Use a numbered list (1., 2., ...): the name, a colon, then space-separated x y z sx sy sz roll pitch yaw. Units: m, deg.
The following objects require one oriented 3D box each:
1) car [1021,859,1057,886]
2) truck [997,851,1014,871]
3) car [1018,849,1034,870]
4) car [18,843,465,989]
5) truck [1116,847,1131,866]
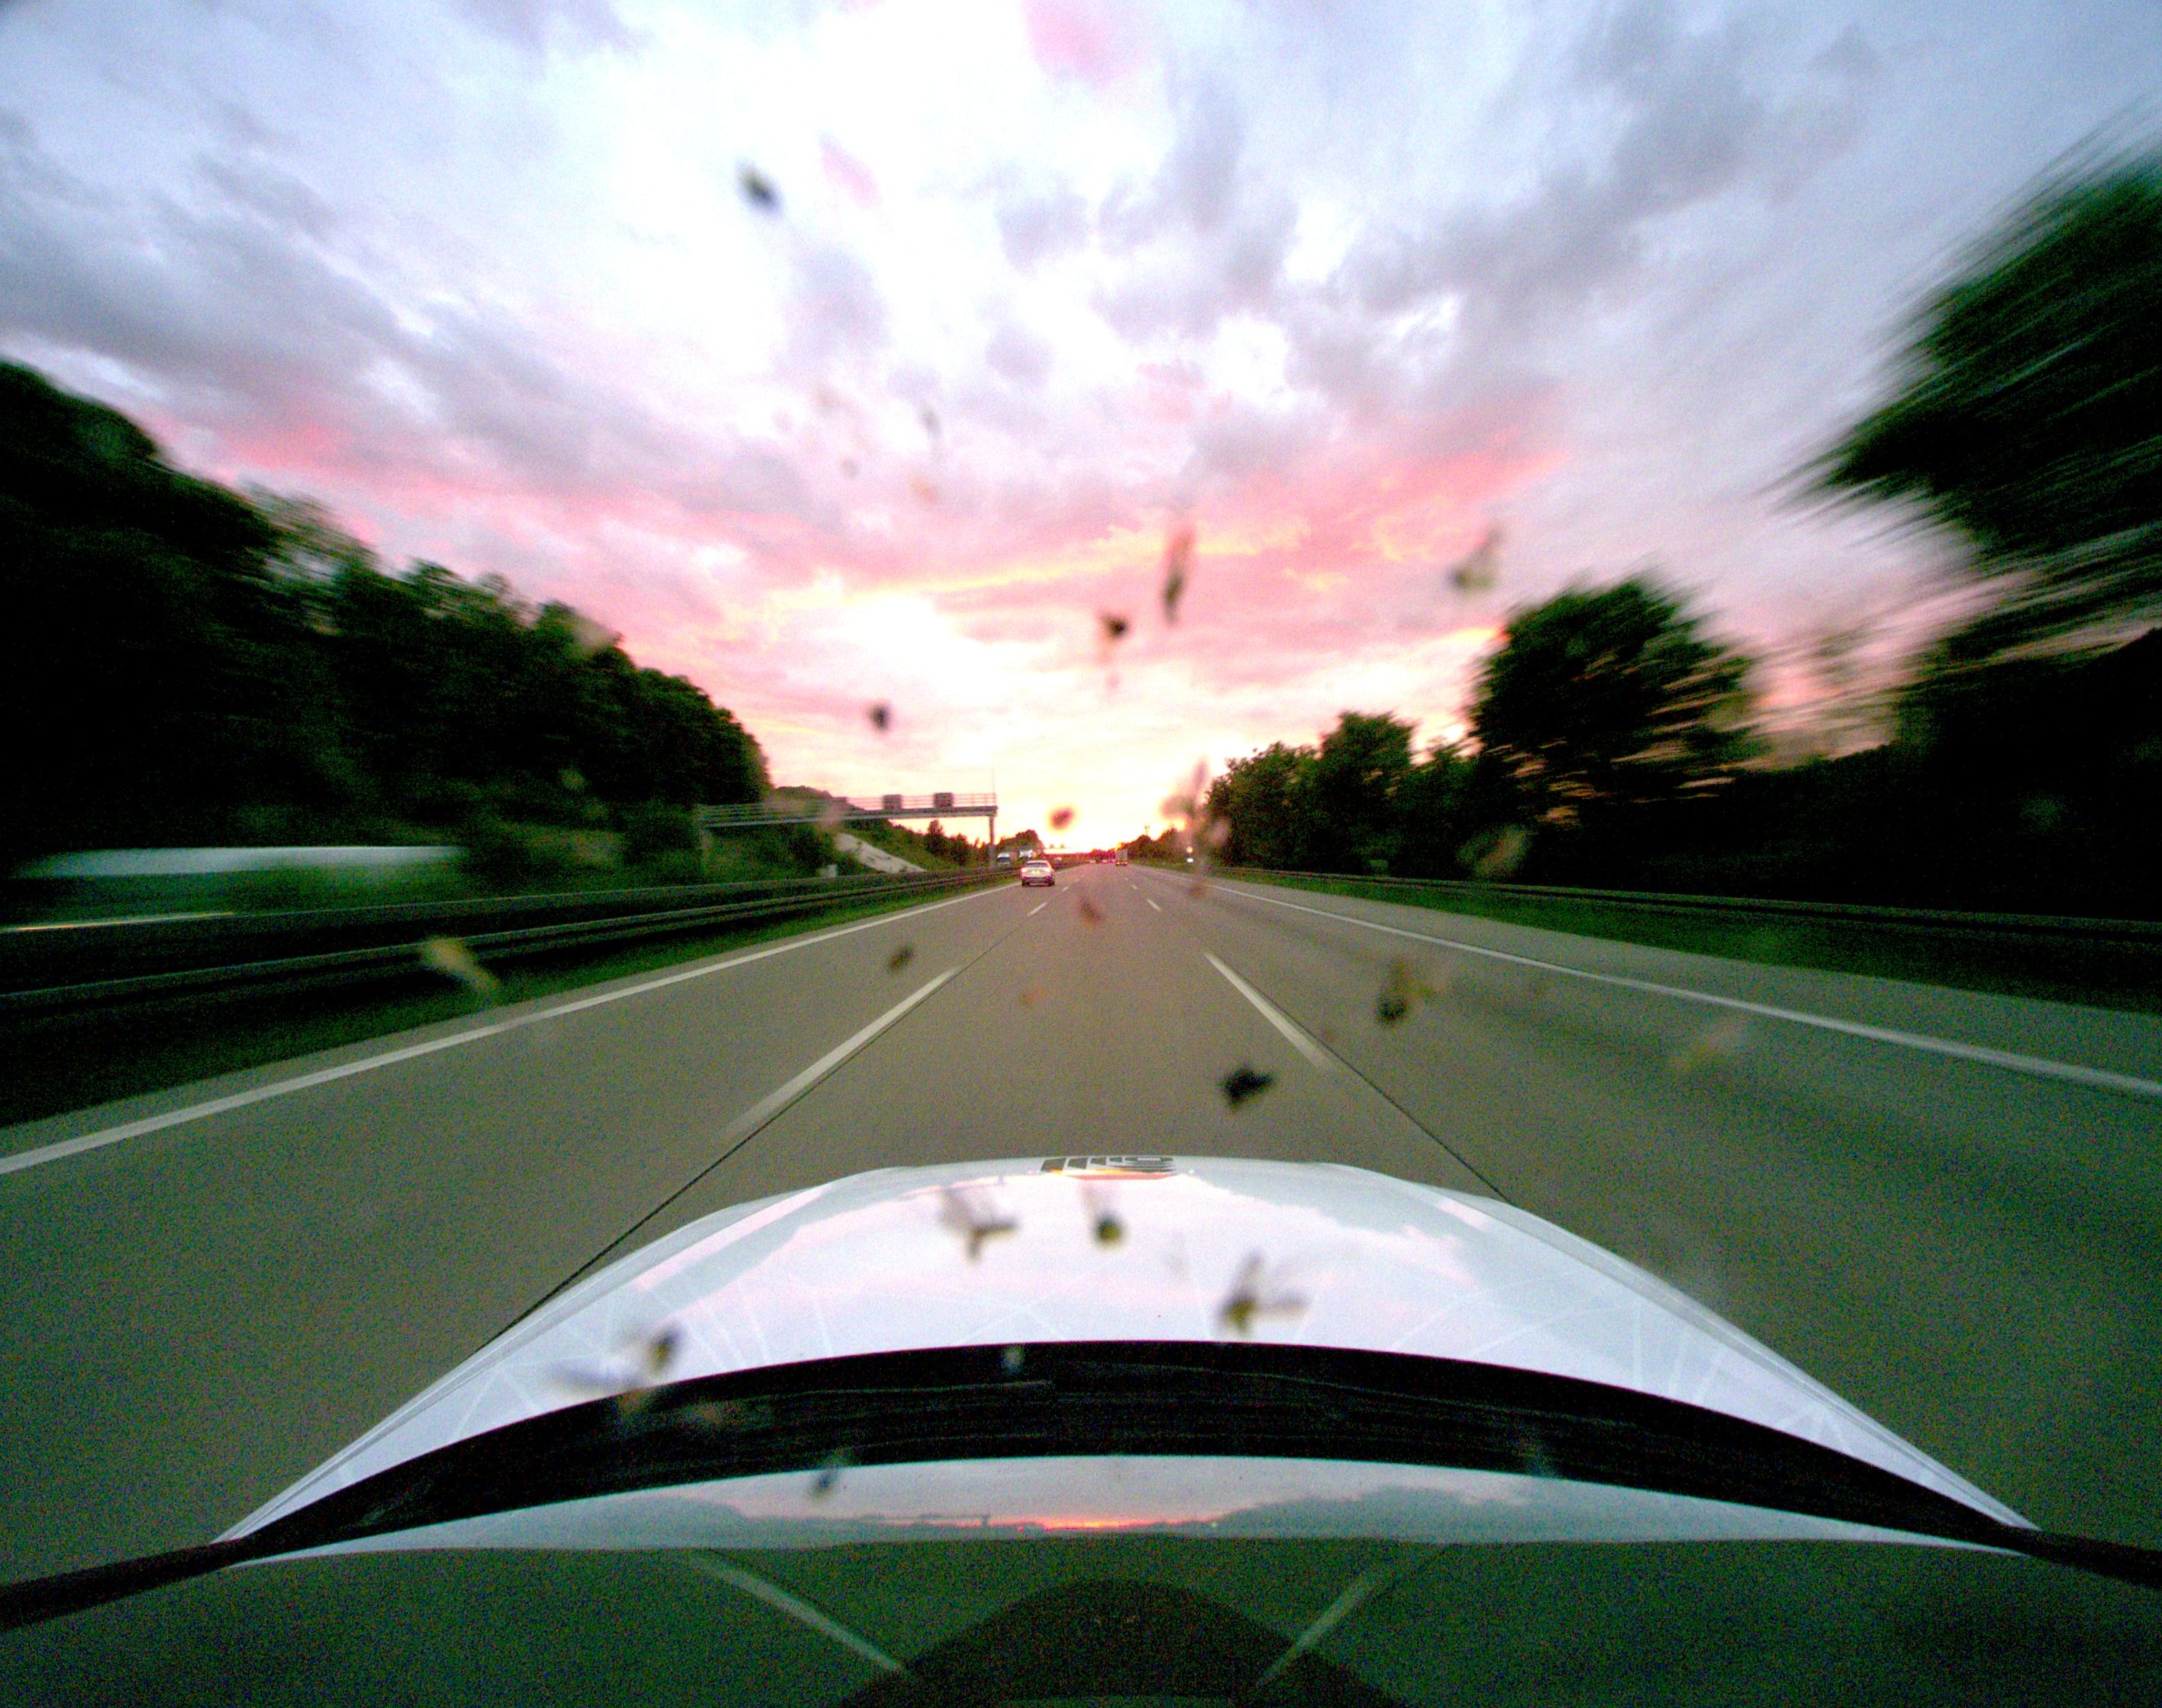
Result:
1. car: -2.492 1.089 49.376 1.783 1.501 5.039 -1 0 1
2. truck: -16.255 1.536 175.312 2.846 4.210 5.866 -2 -1 2
3. car: -12.015 1.222 177.278 2.788 4.487 5.931 -2 -1 1
4. car: -16.453 1.053 16.850 2.130 2.359 6.721 -2 0 1
5. truck: 9.898 0.656 190.094 3.231 4.127 9.794 -2 -1 3
